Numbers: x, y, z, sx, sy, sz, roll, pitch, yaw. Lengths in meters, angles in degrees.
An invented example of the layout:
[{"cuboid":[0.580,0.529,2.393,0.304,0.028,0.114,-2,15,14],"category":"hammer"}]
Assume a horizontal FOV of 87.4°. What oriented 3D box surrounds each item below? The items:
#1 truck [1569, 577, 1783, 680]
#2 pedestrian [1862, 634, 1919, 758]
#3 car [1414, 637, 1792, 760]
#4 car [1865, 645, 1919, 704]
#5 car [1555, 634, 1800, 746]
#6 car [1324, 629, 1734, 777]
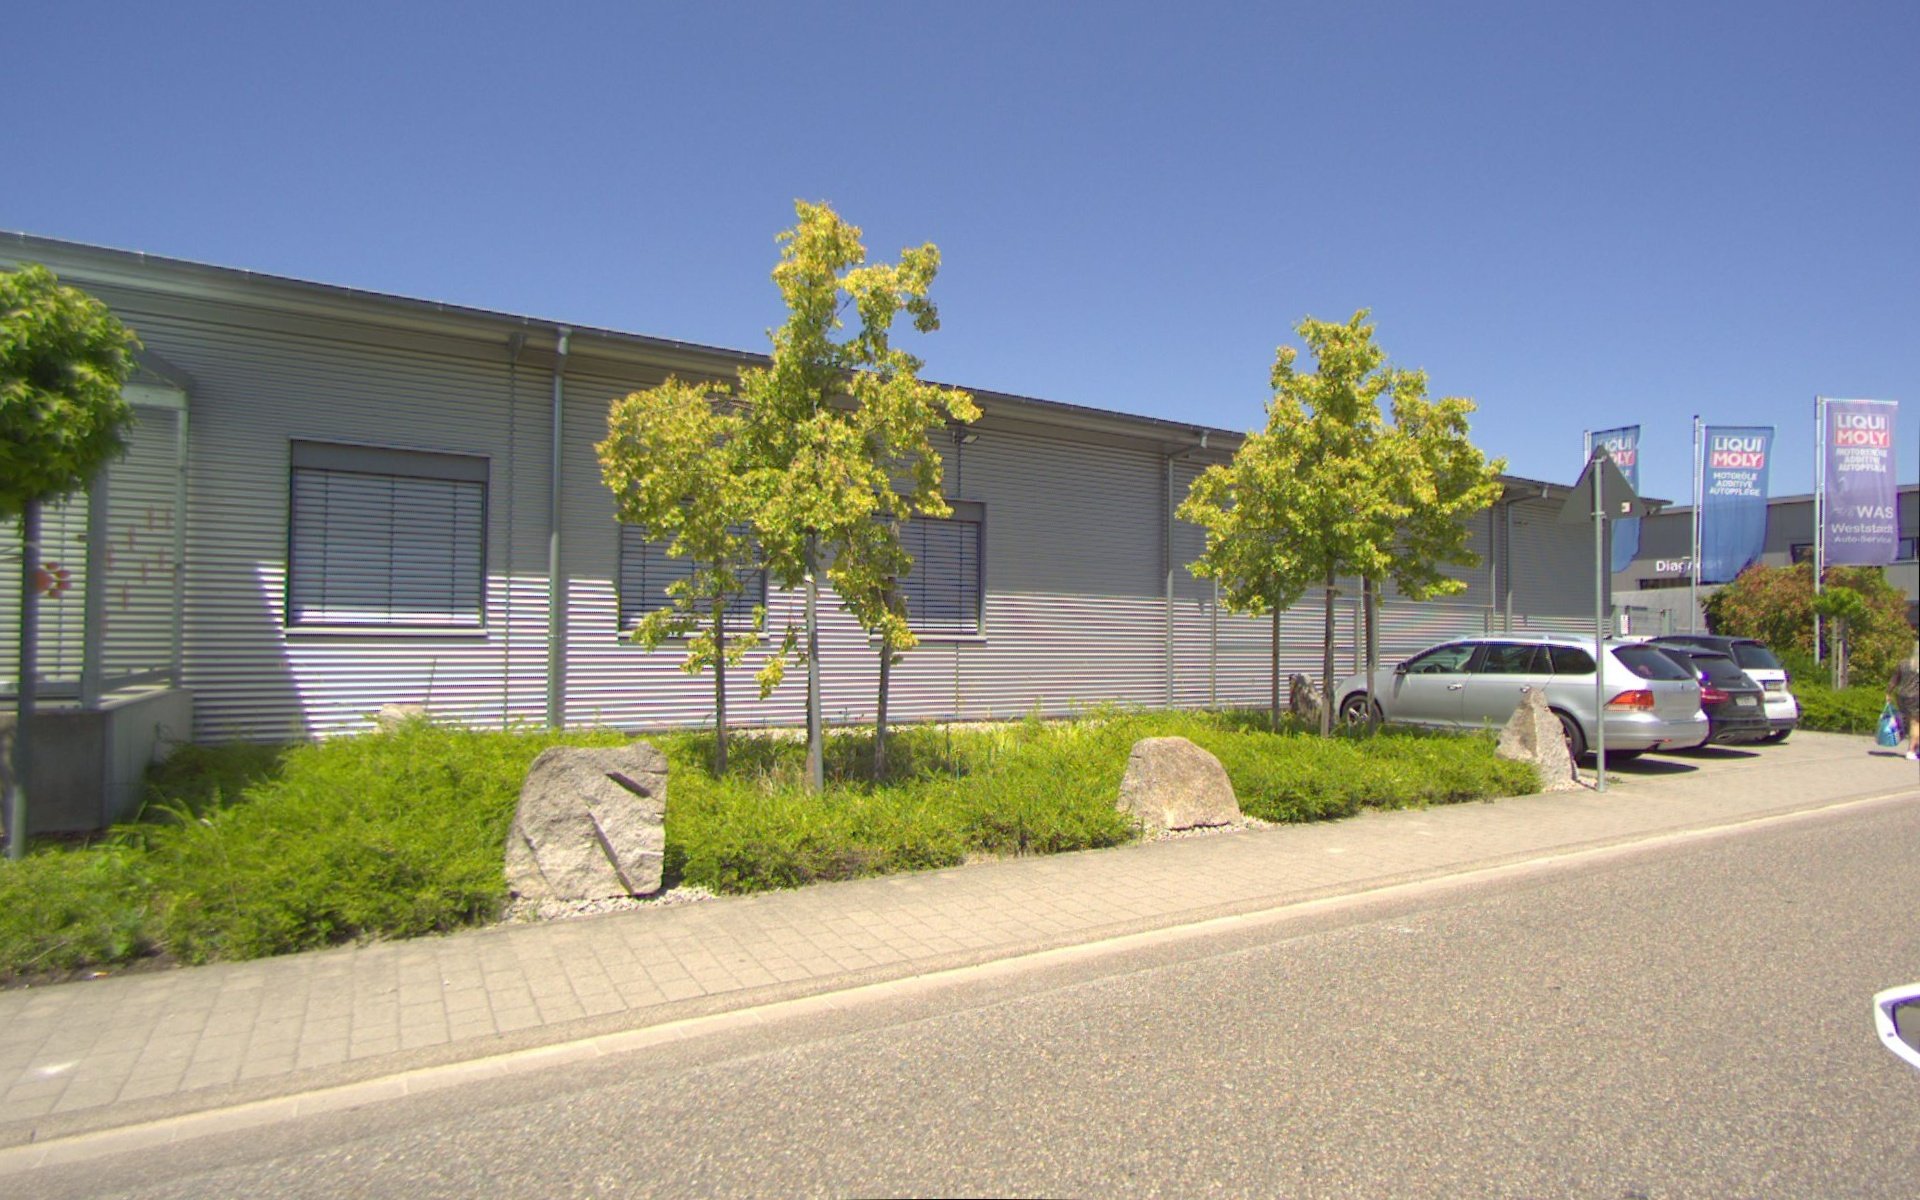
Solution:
[{"cuboid":[27.774,1.083,39.562,2.536,3.604,8.063,1,-1,-1],"category":"truck"},{"cuboid":[12.773,1.271,13.394,0.776,1.595,0.895,1,0,-29],"category":"pedestrian"},{"cuboid":[9.026,1.297,14.533,1.824,1.450,4.291,2,-2,-28],"category":"car"},{"cuboid":[26.337,1.999,26.824,4.714,1.435,1.922,2,-1,-31],"category":"car"},{"cuboid":[10.986,1.313,15.514,1.518,1.538,2.727,2,-2,-31],"category":"car"},{"cuboid":[7.003,1.164,12.847,1.845,1.538,4.241,2,-2,-31],"category":"car"}]
